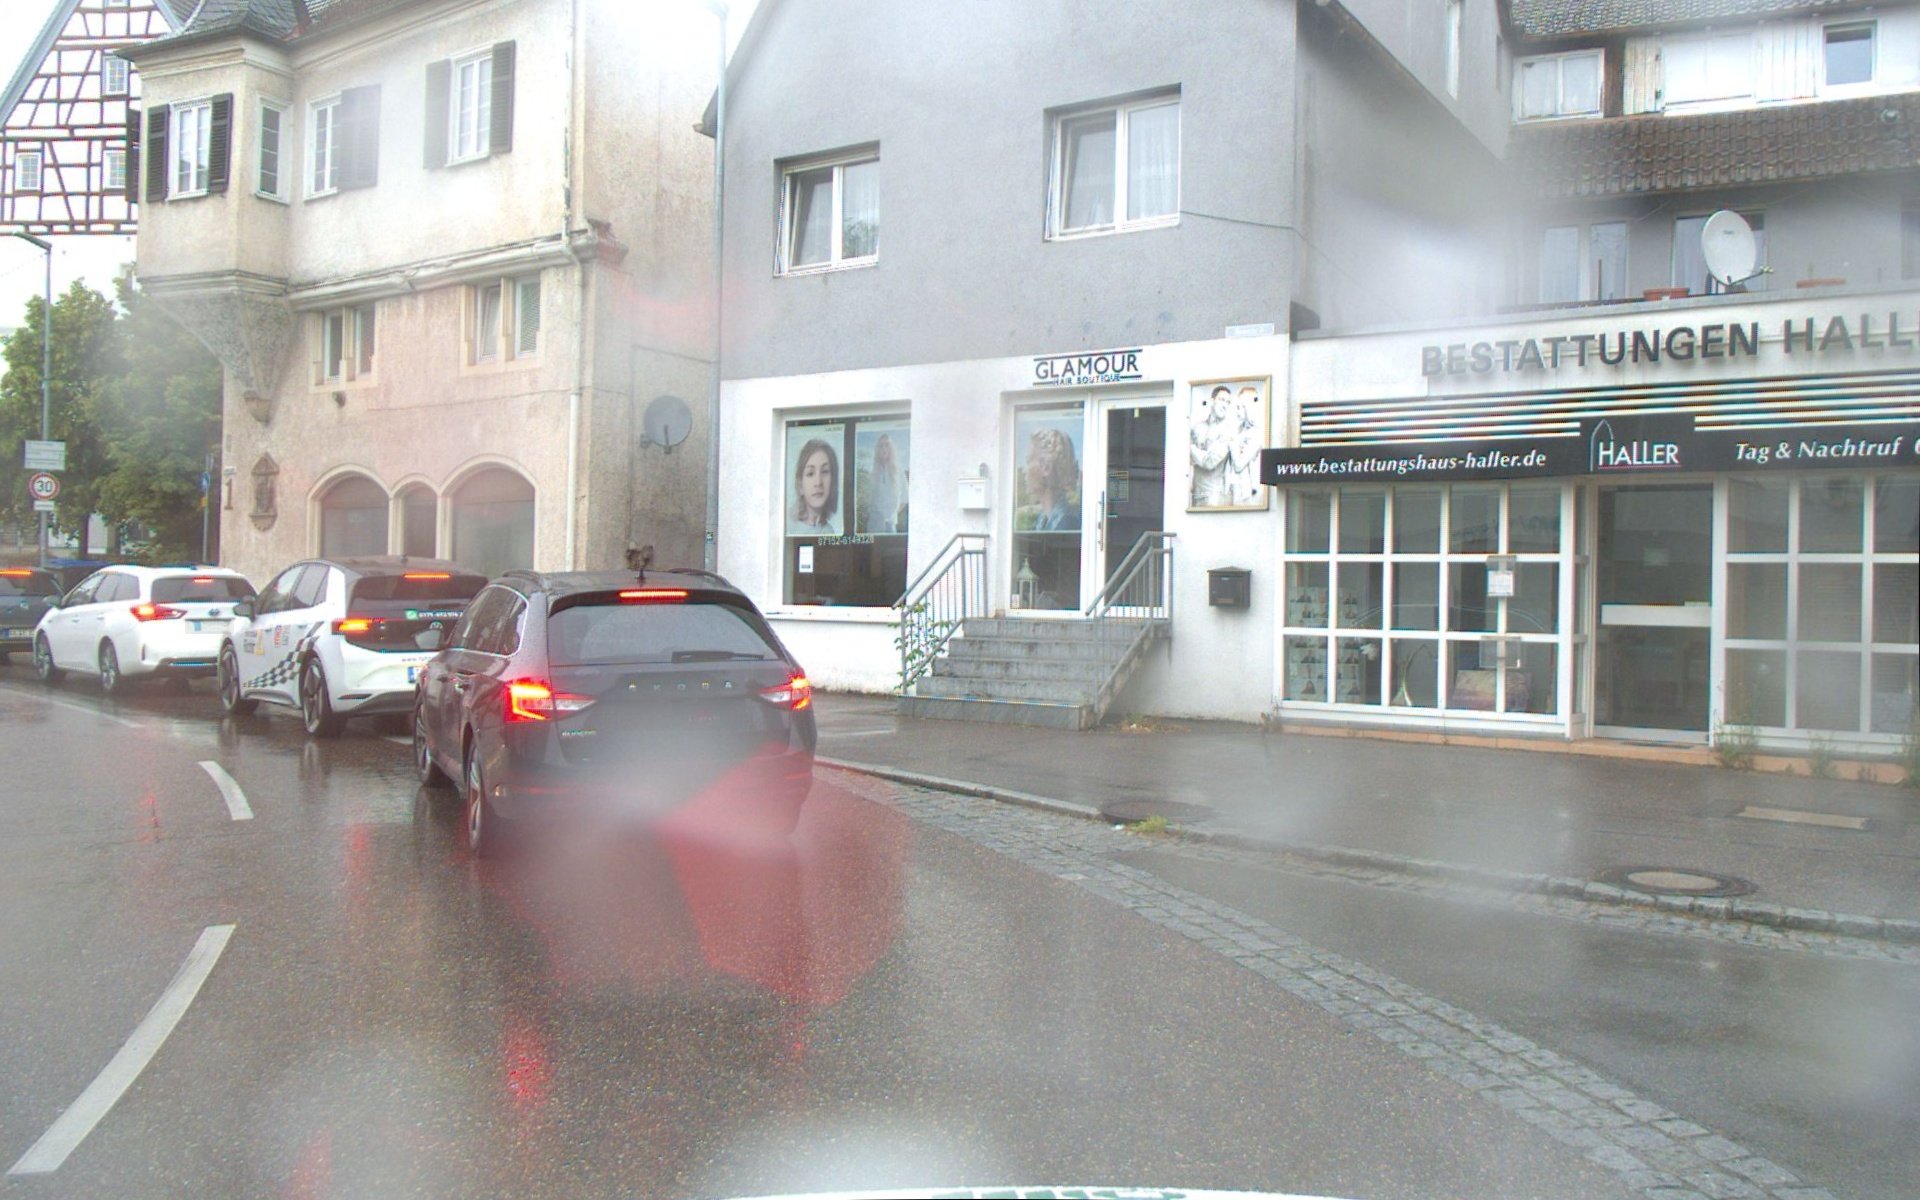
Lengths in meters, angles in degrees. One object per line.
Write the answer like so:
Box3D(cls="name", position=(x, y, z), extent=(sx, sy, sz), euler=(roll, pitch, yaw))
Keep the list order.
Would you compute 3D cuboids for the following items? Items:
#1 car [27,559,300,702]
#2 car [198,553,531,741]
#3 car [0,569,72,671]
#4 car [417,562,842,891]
Box3D(cls="car", position=(-9.742, 0.278, 20.098), extent=(1.778, 1.490, 4.096), euler=(-1, 3, -45))
Box3D(cls="car", position=(-5.787, 0.344, 15.776), extent=(1.777, 1.543, 4.183), euler=(-1, 1, -38))
Box3D(cls="car", position=(-14.890, 0.249, 24.943), extent=(3.701, 1.385, 1.514), euler=(2, 3, 42))
Box3D(cls="car", position=(-2.190, 0.537, 9.938), extent=(1.709, 1.475, 4.212), euler=(0, 2, -23))
